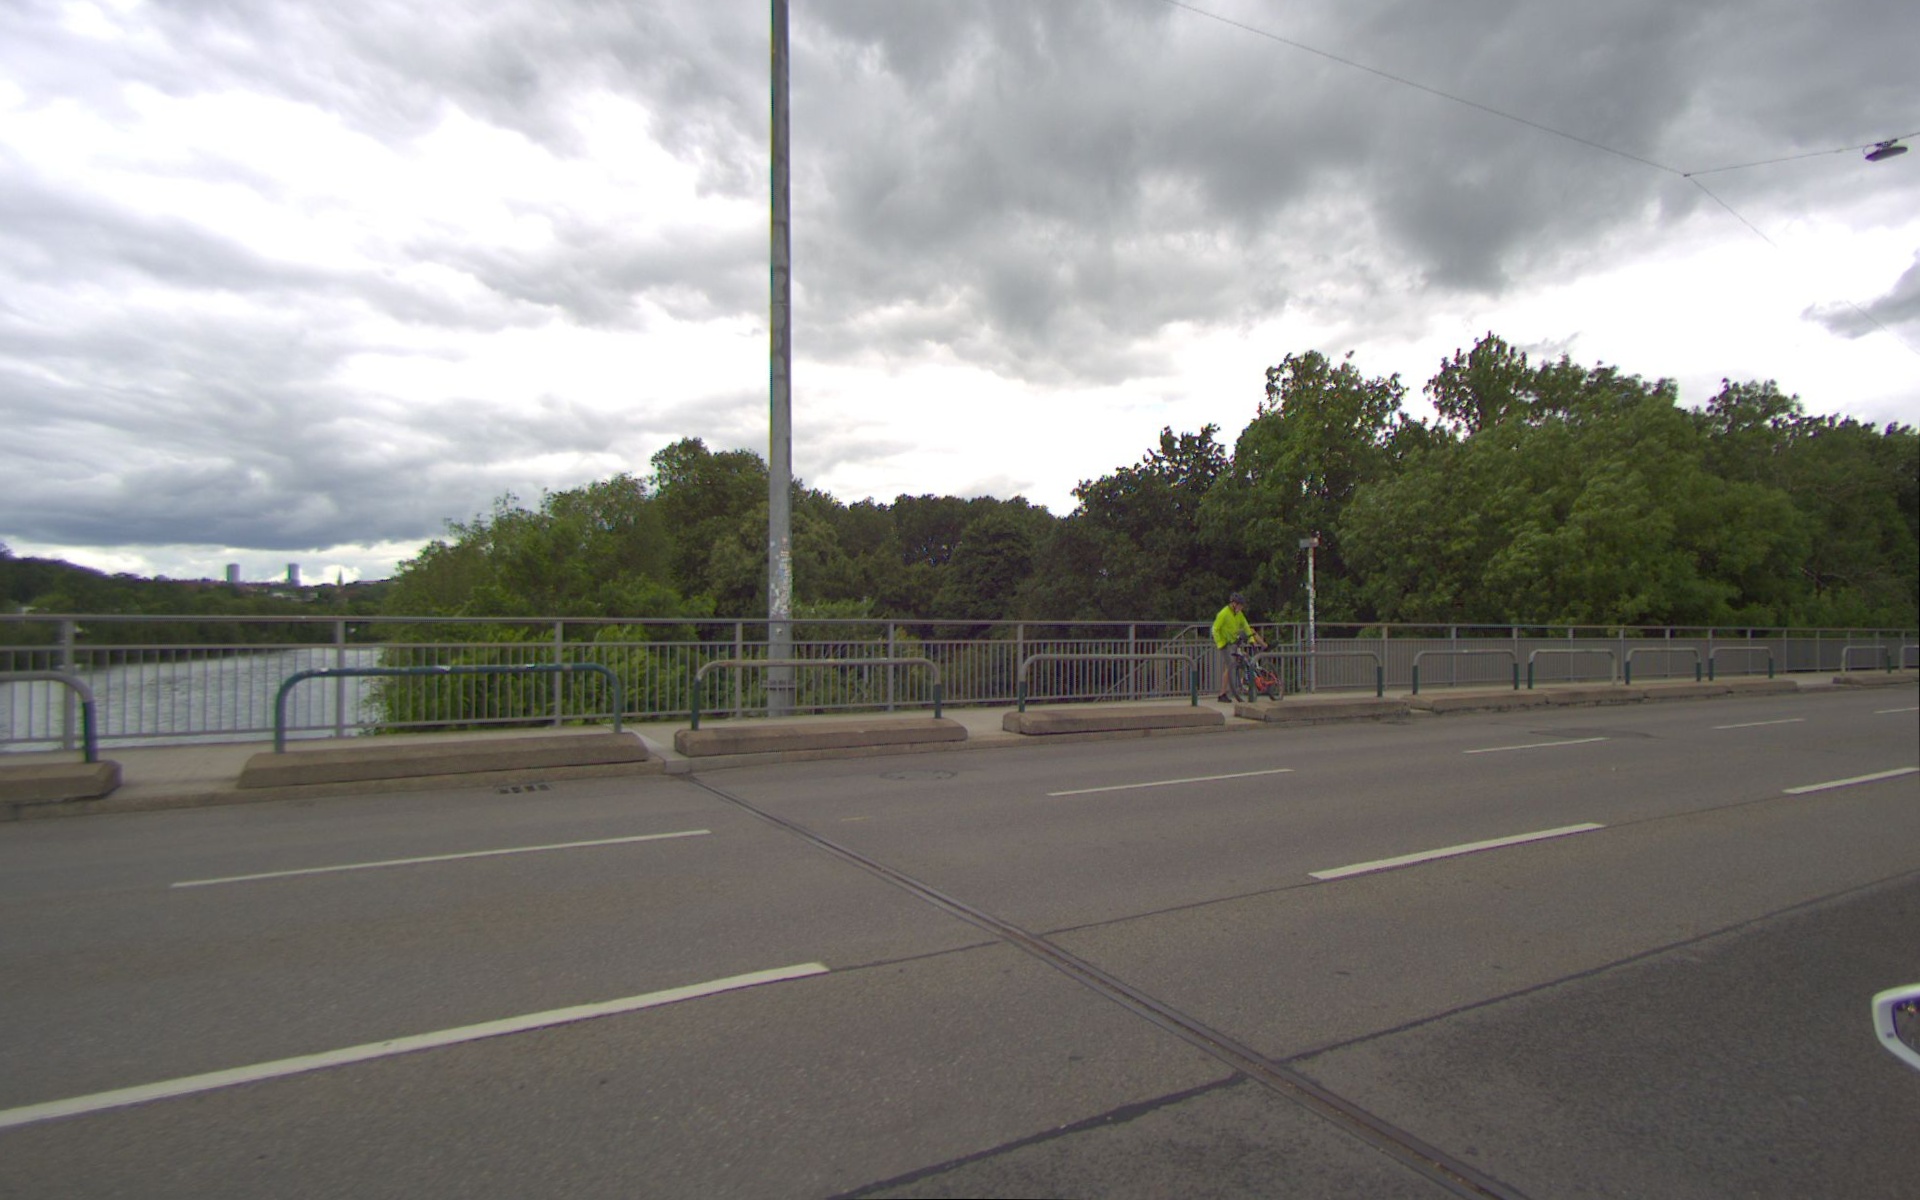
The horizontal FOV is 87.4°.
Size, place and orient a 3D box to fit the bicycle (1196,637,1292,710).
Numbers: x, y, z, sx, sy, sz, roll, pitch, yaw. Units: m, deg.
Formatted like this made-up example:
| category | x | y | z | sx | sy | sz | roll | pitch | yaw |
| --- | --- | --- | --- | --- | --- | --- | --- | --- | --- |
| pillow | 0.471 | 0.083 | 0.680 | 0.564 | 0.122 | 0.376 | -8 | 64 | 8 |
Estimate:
| category | x | y | z | sx | sy | sz | roll | pitch | yaw |
| --- | --- | --- | --- | --- | --- | --- | --- | --- | --- |
| bicycle | 4.811 | 1.185 | 16.834 | 0.904 | 1.065 | 2.795 | 0 | -1 | 30 |

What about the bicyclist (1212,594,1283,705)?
| category | x | y | z | sx | sy | sz | roll | pitch | yaw |
| --- | --- | --- | --- | --- | --- | --- | --- | --- | --- |
| bicyclist | 4.847 | 0.804 | 16.903 | 0.889 | 1.788 | 1.134 | 0 | -1 | 30 |
